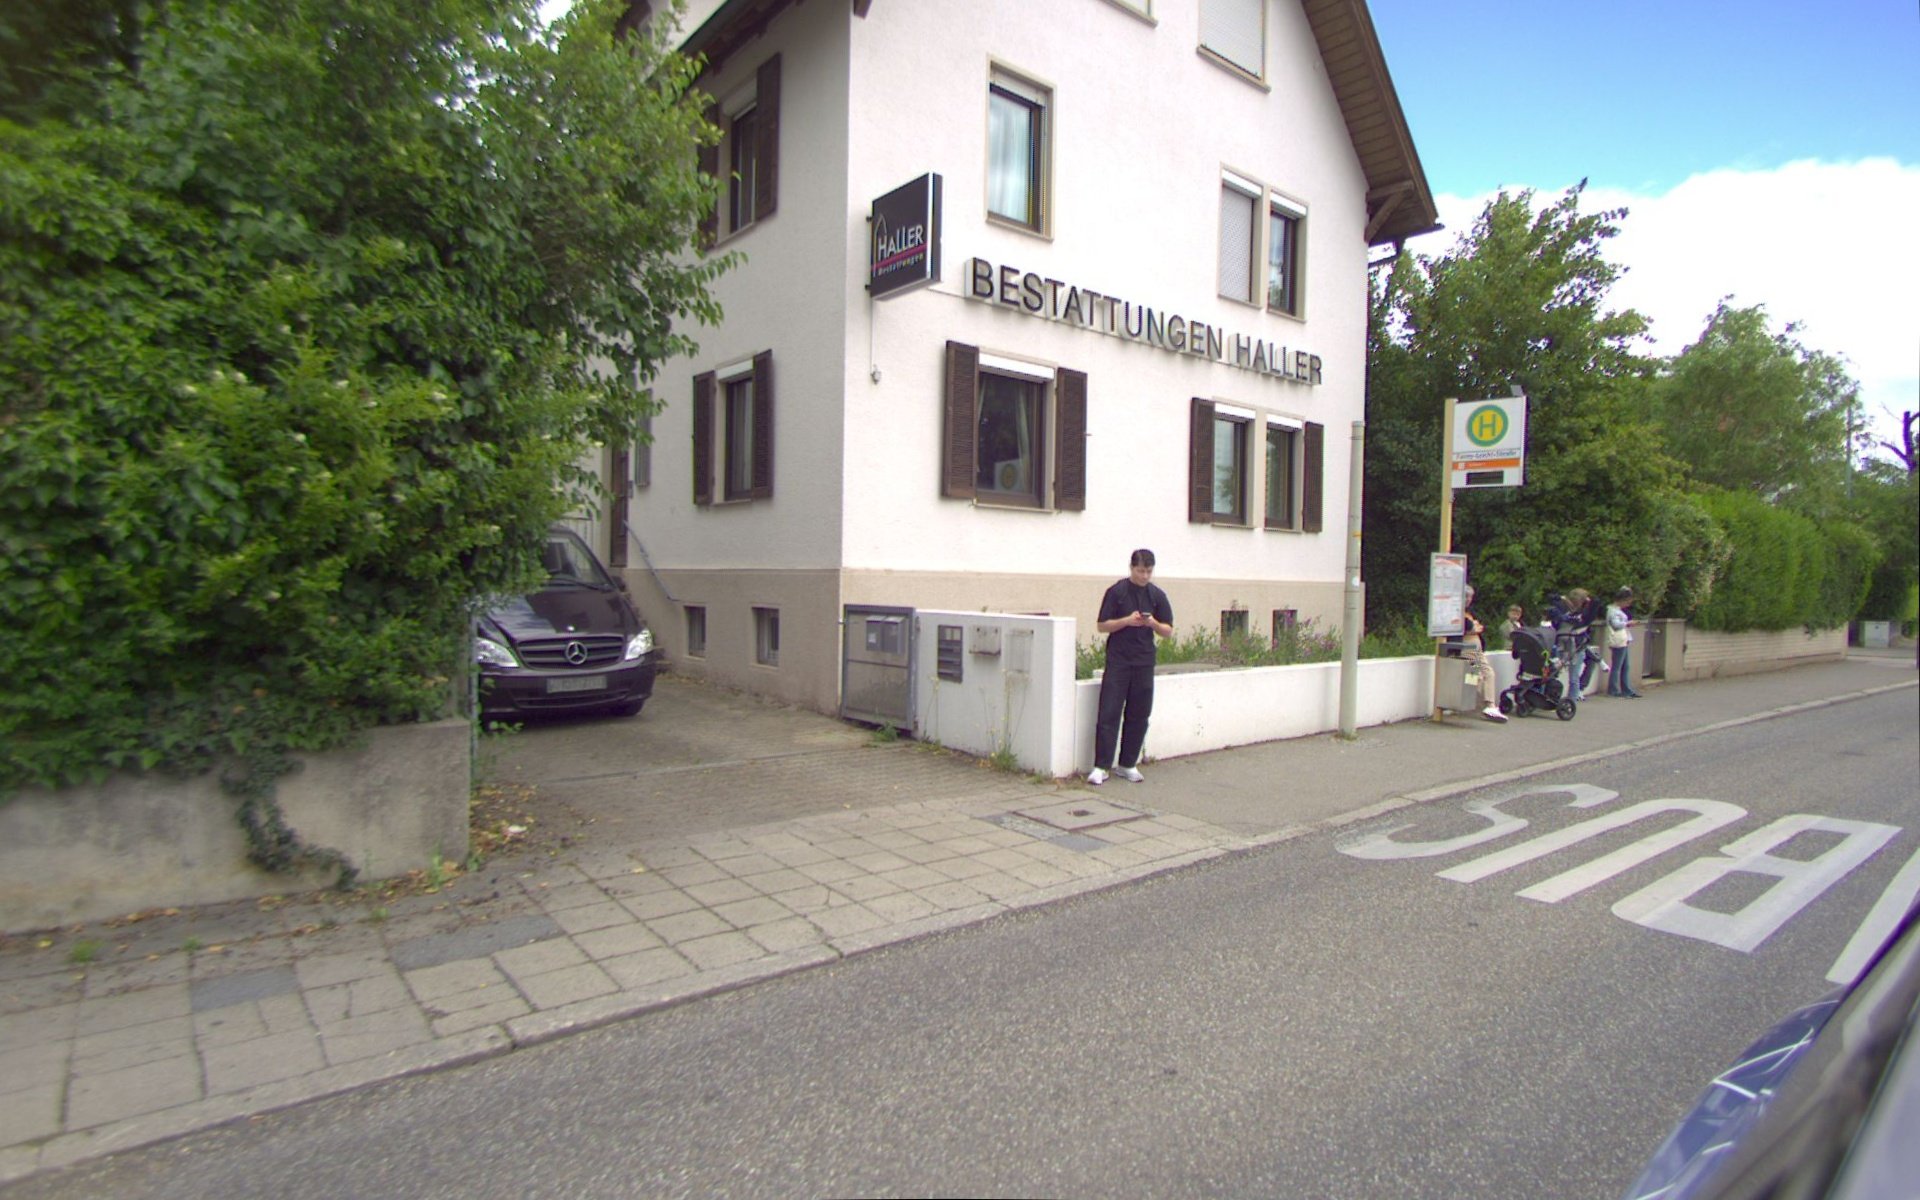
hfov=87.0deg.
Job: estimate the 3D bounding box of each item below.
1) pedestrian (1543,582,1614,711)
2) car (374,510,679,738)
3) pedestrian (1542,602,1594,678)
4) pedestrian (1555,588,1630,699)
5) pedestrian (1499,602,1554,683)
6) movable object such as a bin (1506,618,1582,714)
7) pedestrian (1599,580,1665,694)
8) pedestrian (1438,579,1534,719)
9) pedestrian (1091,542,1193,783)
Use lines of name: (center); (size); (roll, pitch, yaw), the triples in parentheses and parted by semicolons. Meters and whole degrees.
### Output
pedestrian: (7.680, 0.570, 12.583); (0.354, 1.535, 0.552); (2, 2, -31)
car: (-4.517, 0.076, 10.183); (1.854, 1.810, 3.999); (1, 3, -38)
pedestrian: (8.298, 0.540, 13.809); (0.454, 0.976, 0.377); (7, 4, 44)
pedestrian: (8.777, 0.588, 14.068); (0.503, 1.444, 0.622); (4, 3, -2)
pedestrian: (7.273, 0.535, 12.994); (0.454, 0.976, 0.377); (7, 4, 44)
movable object such as a bin: (6.984, 0.788, 12.109); (0.556, 1.071, 0.443); (3, 3, -14)
pedestrian: (9.620, 0.525, 14.497); (0.534, 1.574, 0.472); (2, 3, -30)
pedestrian: (6.075, 0.541, 11.699); (0.595, 1.518, 0.780); (1, 3, -45)
pedestrian: (1.352, 0.445, 7.612); (0.576, 1.732, 0.530); (2, 2, -3)
